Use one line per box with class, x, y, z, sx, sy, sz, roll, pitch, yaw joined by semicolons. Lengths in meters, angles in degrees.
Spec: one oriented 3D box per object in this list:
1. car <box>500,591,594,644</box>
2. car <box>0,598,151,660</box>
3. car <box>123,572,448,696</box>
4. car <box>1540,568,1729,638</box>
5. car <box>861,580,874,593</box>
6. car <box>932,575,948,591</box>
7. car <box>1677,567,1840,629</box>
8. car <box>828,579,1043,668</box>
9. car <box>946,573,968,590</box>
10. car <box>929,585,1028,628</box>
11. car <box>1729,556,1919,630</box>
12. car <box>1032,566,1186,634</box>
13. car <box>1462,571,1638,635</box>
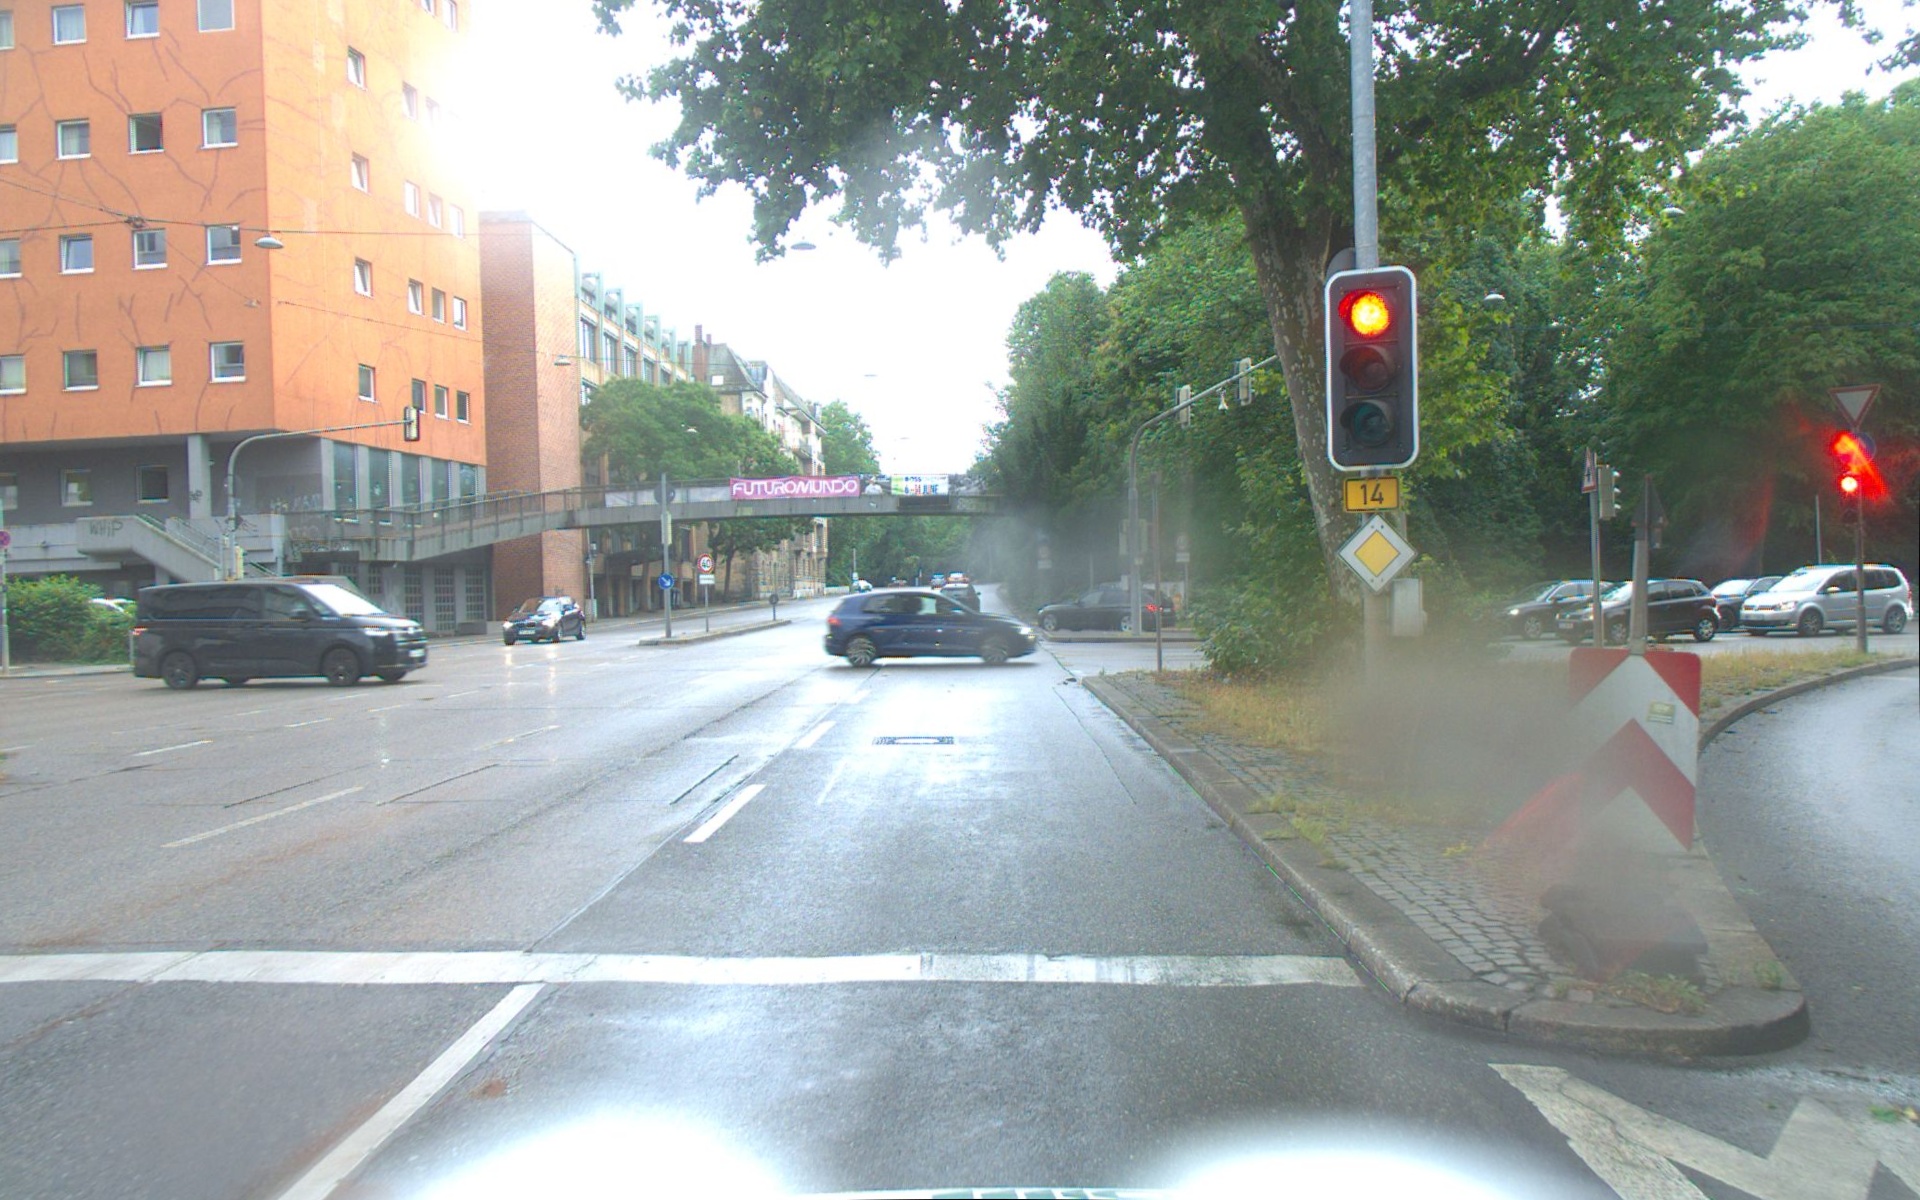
car;-12.987;0.525;52.247;1.953;1.545;4.000;-2;0;0
car;-27.148;0.889;50.502;3.929;1.646;1.896;-3;0;9
car;-11.976;0.595;29.528;4.968;1.878;2.002;-3;0;8
car;15.442;0.067;37.916;3.791;1.511;1.665;-1;0;-16
car;-13.631;-1.949;243.283;1.586;1.726;3.549;-3;0;-1
car;-2.343;-2.004;194.344;1.727;1.726;3.705;-3;0;-1
car;20.894;-0.065;43.284;3.767;1.512;1.735;-1;0;-21
car;-0.439;0.452;32.421;4.049;1.471;1.586;-3;0;2
car;-0.336;-1.955;177.480;2.078;1.765;4.196;0;1;-3
car;0.714;0.245;66.575;1.857;1.666;4.475;-1;1;-32
car;20.965;-0.170;40.080;4.198;1.512;1.763;-3;0;-21
car;4.678;0.014;51.950;4.257;1.867;2.132;-3;0;30
car;14.870;0.060;41.698;3.929;1.512;1.867;-1;0;-21
